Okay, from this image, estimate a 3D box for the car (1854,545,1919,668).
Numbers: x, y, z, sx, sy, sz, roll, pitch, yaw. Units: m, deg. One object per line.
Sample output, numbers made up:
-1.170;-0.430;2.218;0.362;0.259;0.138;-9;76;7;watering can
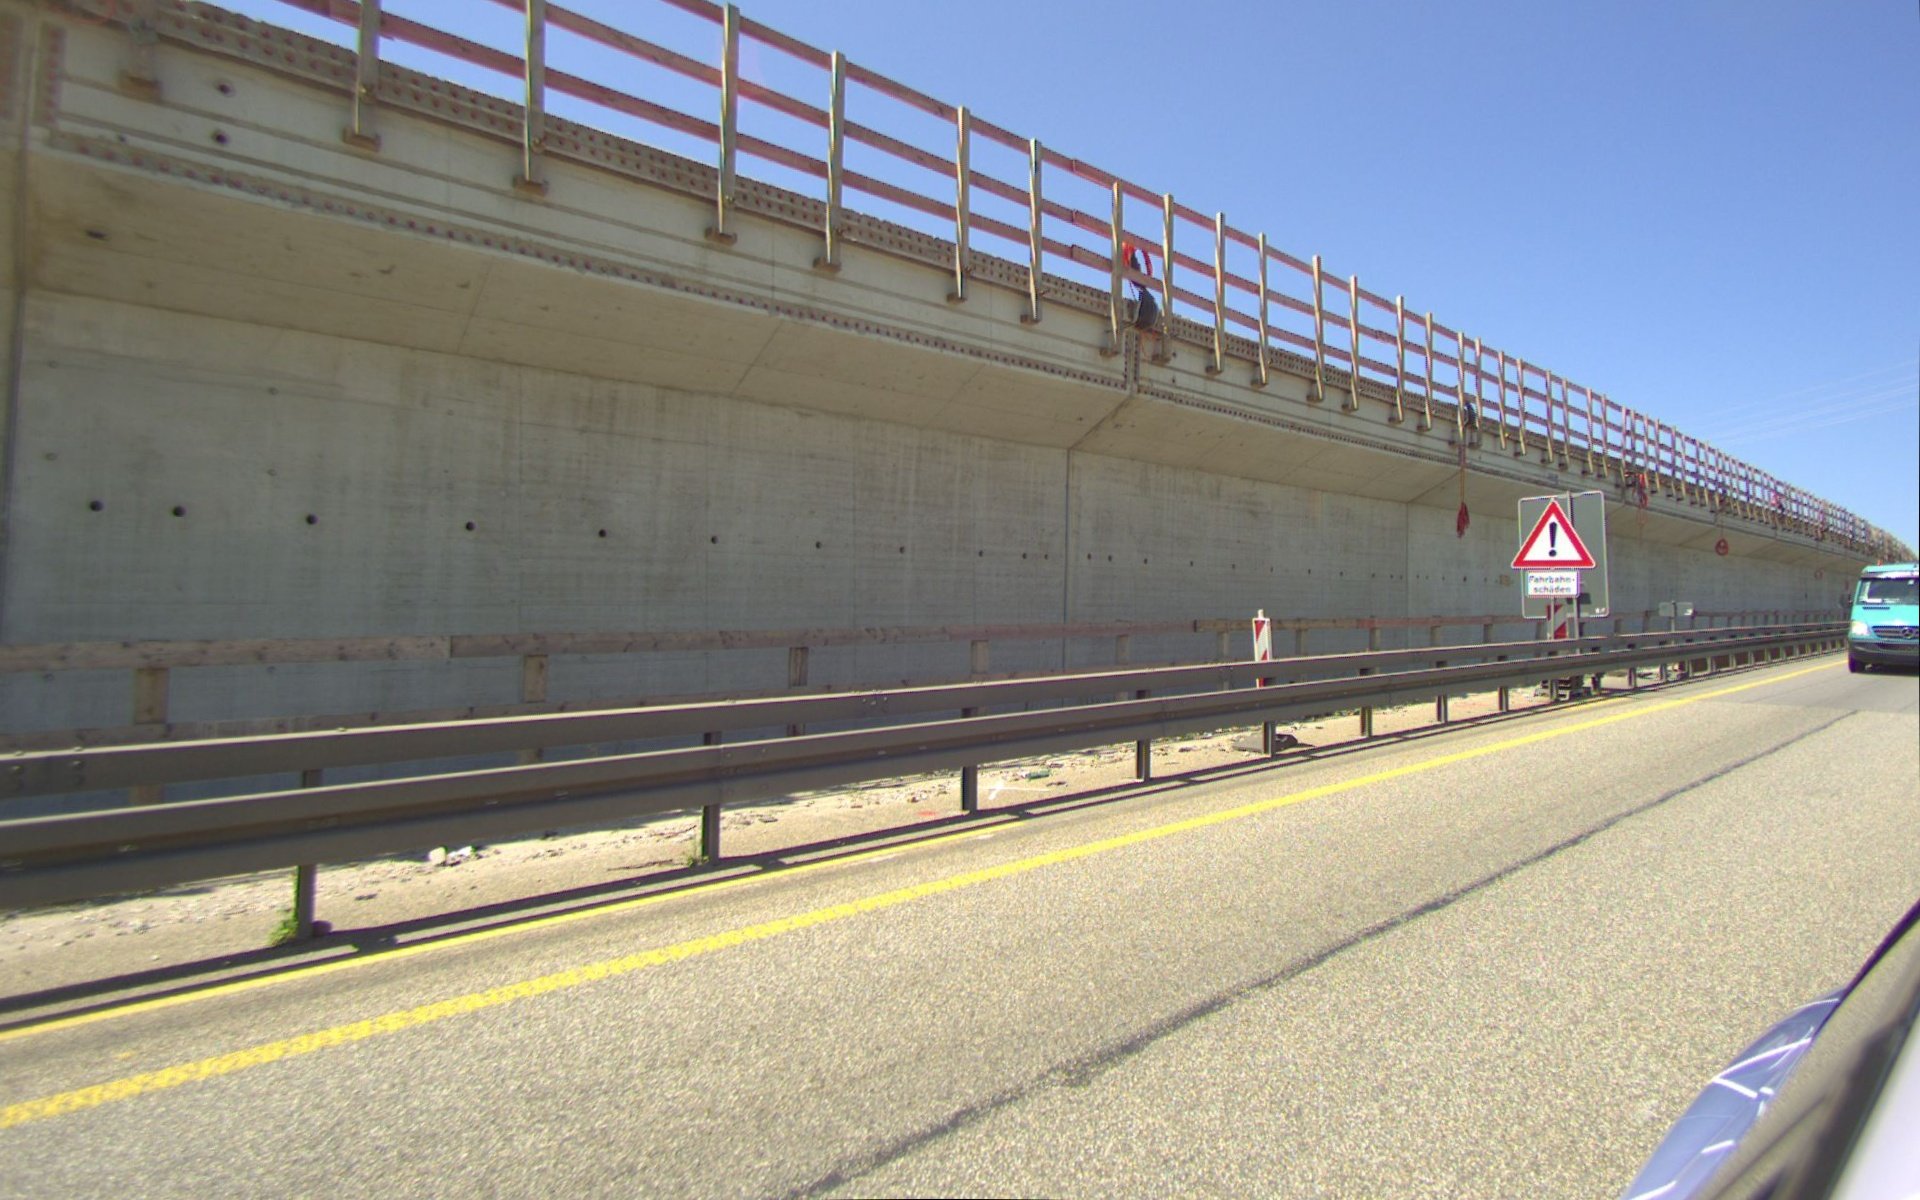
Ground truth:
21.536;0.087;22.197;7.085;2.411;1.966;-1;-1;-42;car
